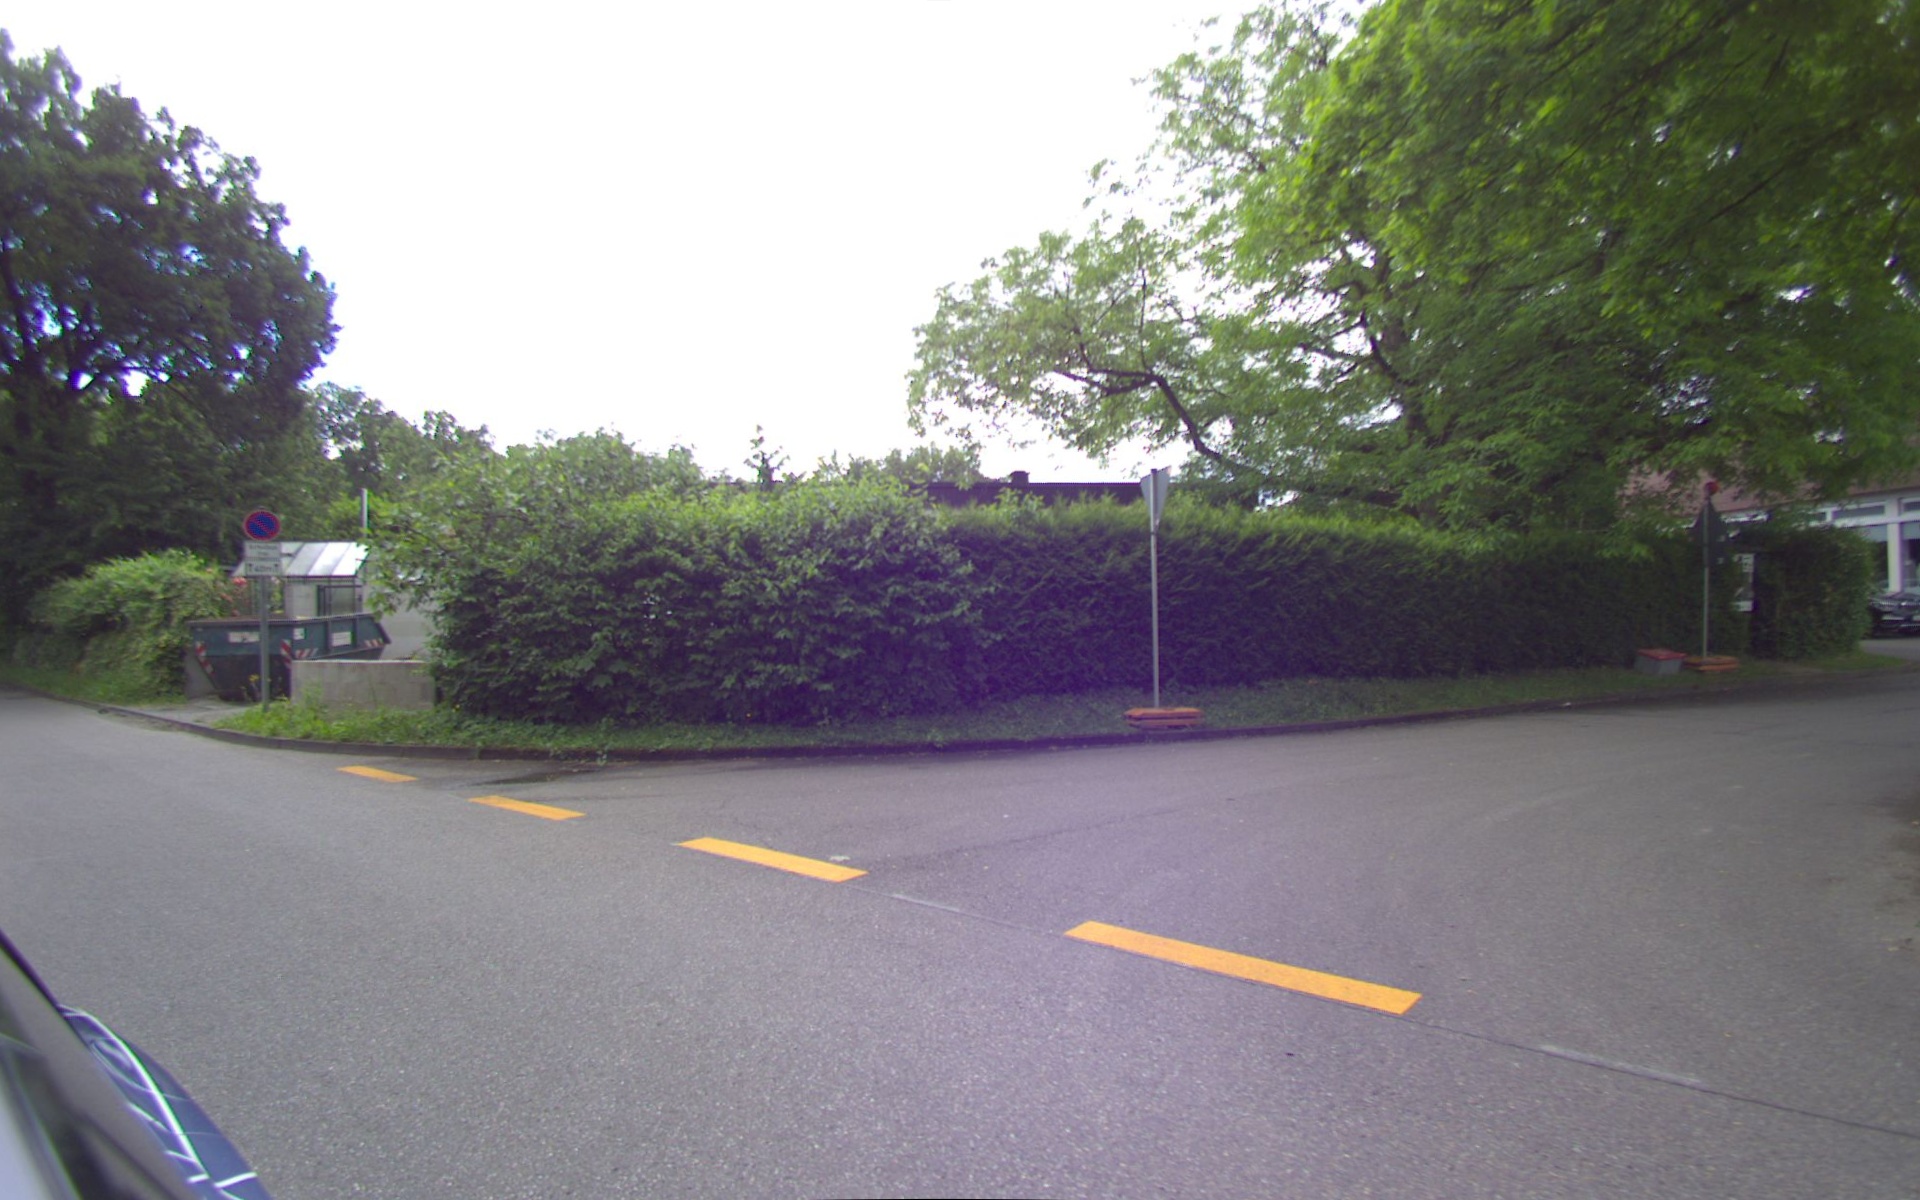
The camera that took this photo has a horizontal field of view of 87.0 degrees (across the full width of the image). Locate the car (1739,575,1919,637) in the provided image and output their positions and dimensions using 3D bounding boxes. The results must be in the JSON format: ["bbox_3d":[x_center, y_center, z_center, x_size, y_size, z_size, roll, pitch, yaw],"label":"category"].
[{"bbox_3d":[22.713,0.150,25.824,1.969,1.386,4.285,-3,-1,-7],"label":"car"}]
